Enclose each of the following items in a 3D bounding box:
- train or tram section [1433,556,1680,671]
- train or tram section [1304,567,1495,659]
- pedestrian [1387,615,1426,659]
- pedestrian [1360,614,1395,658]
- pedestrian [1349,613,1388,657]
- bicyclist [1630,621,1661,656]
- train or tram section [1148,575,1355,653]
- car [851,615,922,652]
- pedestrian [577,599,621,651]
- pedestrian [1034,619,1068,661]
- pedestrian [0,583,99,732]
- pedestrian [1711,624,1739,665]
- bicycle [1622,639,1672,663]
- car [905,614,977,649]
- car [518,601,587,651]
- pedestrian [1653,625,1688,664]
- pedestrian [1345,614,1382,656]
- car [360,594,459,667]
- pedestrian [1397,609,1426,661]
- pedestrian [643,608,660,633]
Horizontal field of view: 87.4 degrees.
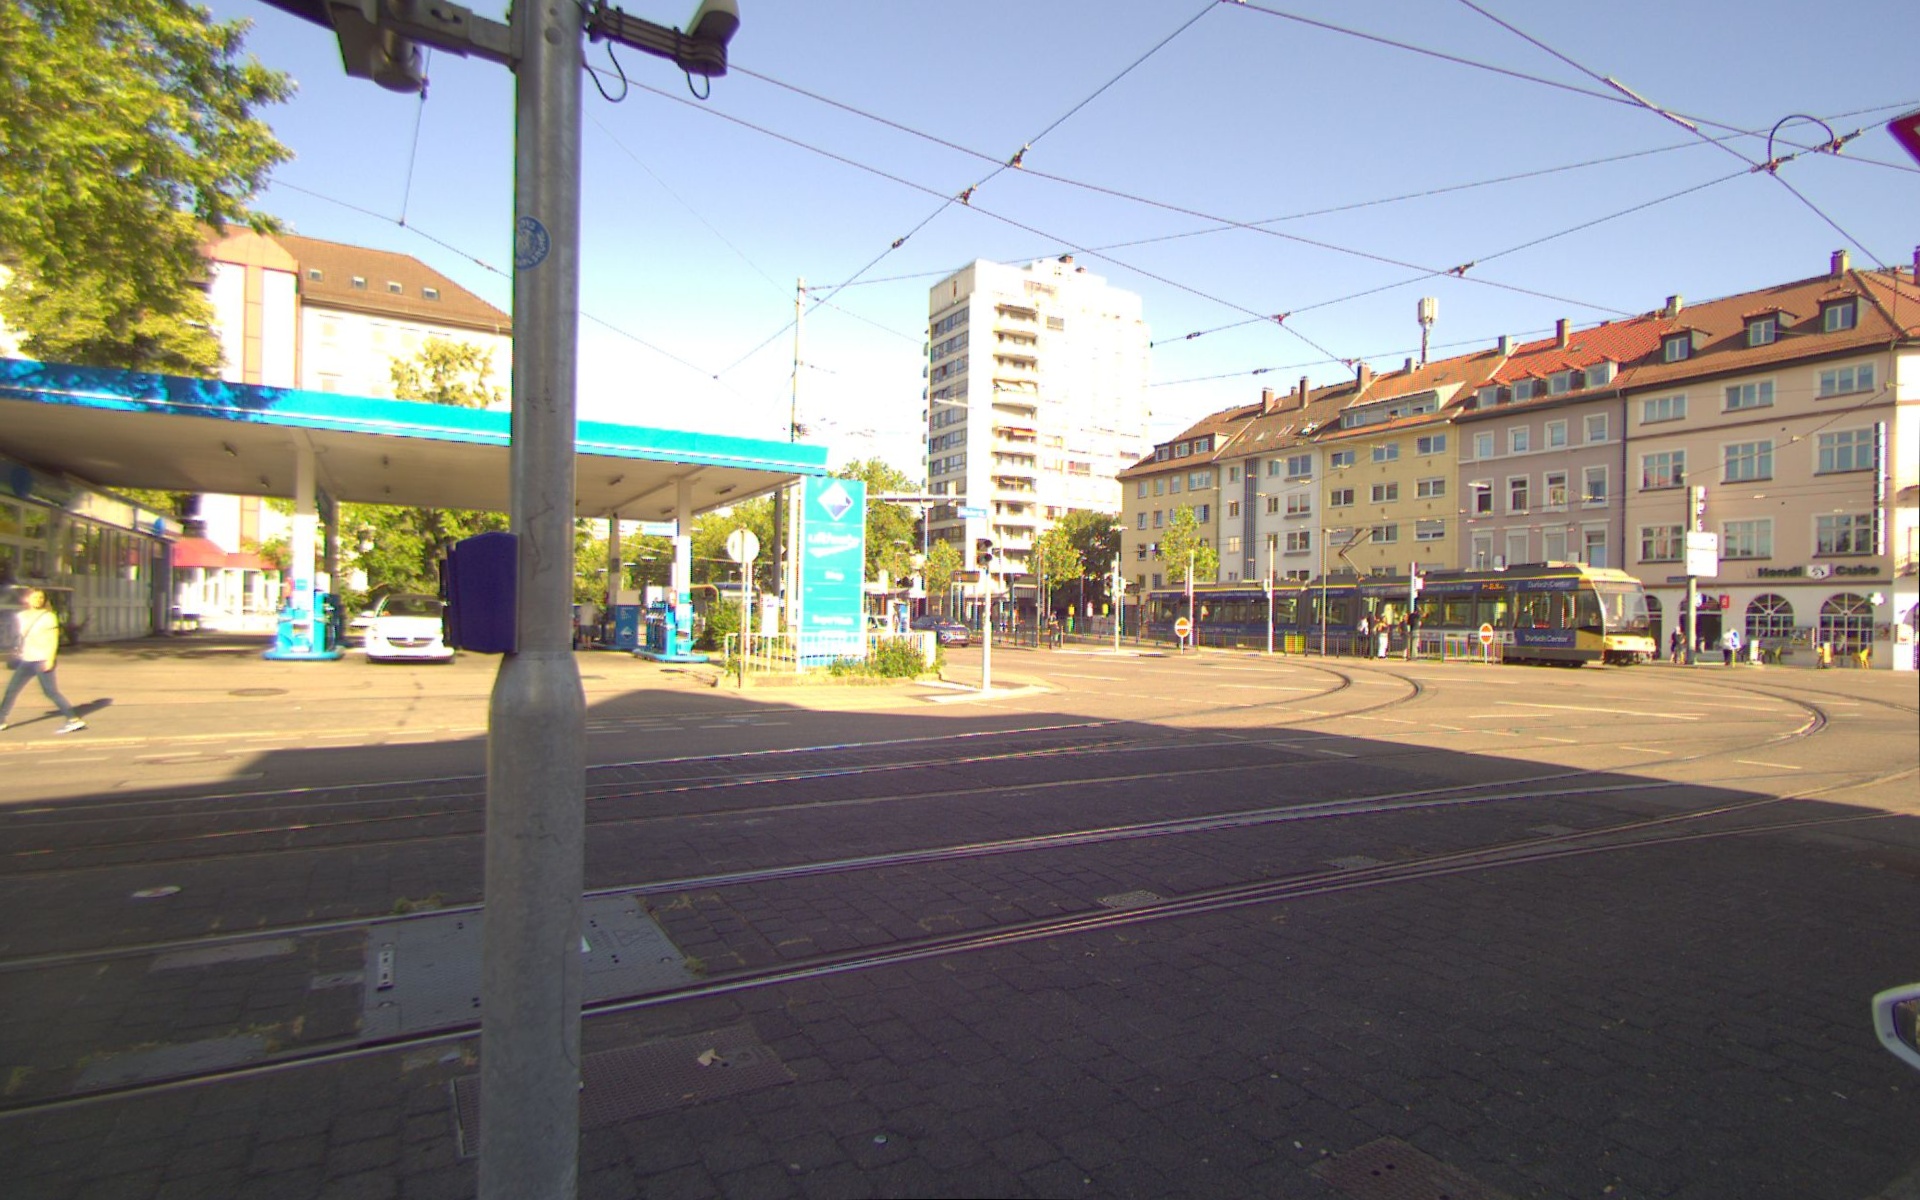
[{"bbox_3d":[20.425,0.492,35.120,2.775,3.546,7.943,1,-1,-12],"label":"train or tram section"},{"bbox_3d":[18.442,0.563,42.931,2.777,3.546,8.433,1,-1,-16],"label":"train or tram section"},{"bbox_3d":[16.613,1.373,37.361,0.924,1.619,1.008,1,-1,-9],"label":"pedestrian"},{"bbox_3d":[15.629,1.342,37.580,0.928,1.619,1.004,0,-1,41],"label":"pedestrian"},{"bbox_3d":[15.071,1.289,37.069,0.997,1.619,0.934,1,-1,-30],"label":"pedestrian"},{"bbox_3d":[35.831,1.990,52.508,0.740,1.798,1.159,1,-1,-31],"label":"bicyclist"},{"bbox_3d":[14.611,0.722,51.936,2.745,3.546,11.942,1,-1,-28],"label":"train or tram section"},{"bbox_3d":[-3.472,1.532,46.739,1.863,1.601,3.971,1,-1,-28],"label":"car"},{"bbox_3d":[-11.571,0.808,32.228,1.142,1.647,0.812,1,-1,-5],"label":"pedestrian"},{"bbox_3d":[4.211,1.836,46.403,1.156,1.870,1.098,2,-1,-28],"label":"pedestrian"},{"bbox_3d":[-10.588,0.637,11.471,1.097,1.641,0.708,1,-1,-39],"label":"pedestrian"},{"bbox_3d":[34.665,2.002,45.529,0.993,1.798,0.938,0,-1,36],"label":"pedestrian"},{"bbox_3d":[35.814,2.635,52.400,0.623,1.197,2.081,1,-1,-29],"label":"bicycle"},{"bbox_3d":[-0.975,1.494,48.249,1.863,1.601,3.971,1,-1,-28],"label":"car"},{"bbox_3d":[-13.445,0.840,33.017,1.725,1.431,4.061,5,-2,-26],"label":"car"},{"bbox_3d":[34.076,2.133,48.207,0.926,1.798,1.006,1,-1,-15],"label":"pedestrian"},{"bbox_3d":[15.751,1.357,39.254,0.925,1.619,1.007,1,-1,-13],"label":"pedestrian"},{"bbox_3d":[-12.352,0.648,22.515,1.760,1.483,3.968,1,-1,-30],"label":"car"},{"bbox_3d":[16.132,1.245,35.900,0.923,1.798,1.009,0,-1,23],"label":"pedestrian"},{"bbox_3d":[-19.497,1.301,63.548,0.907,1.595,0.959,1,-1,-24],"label":"pedestrian"}]
